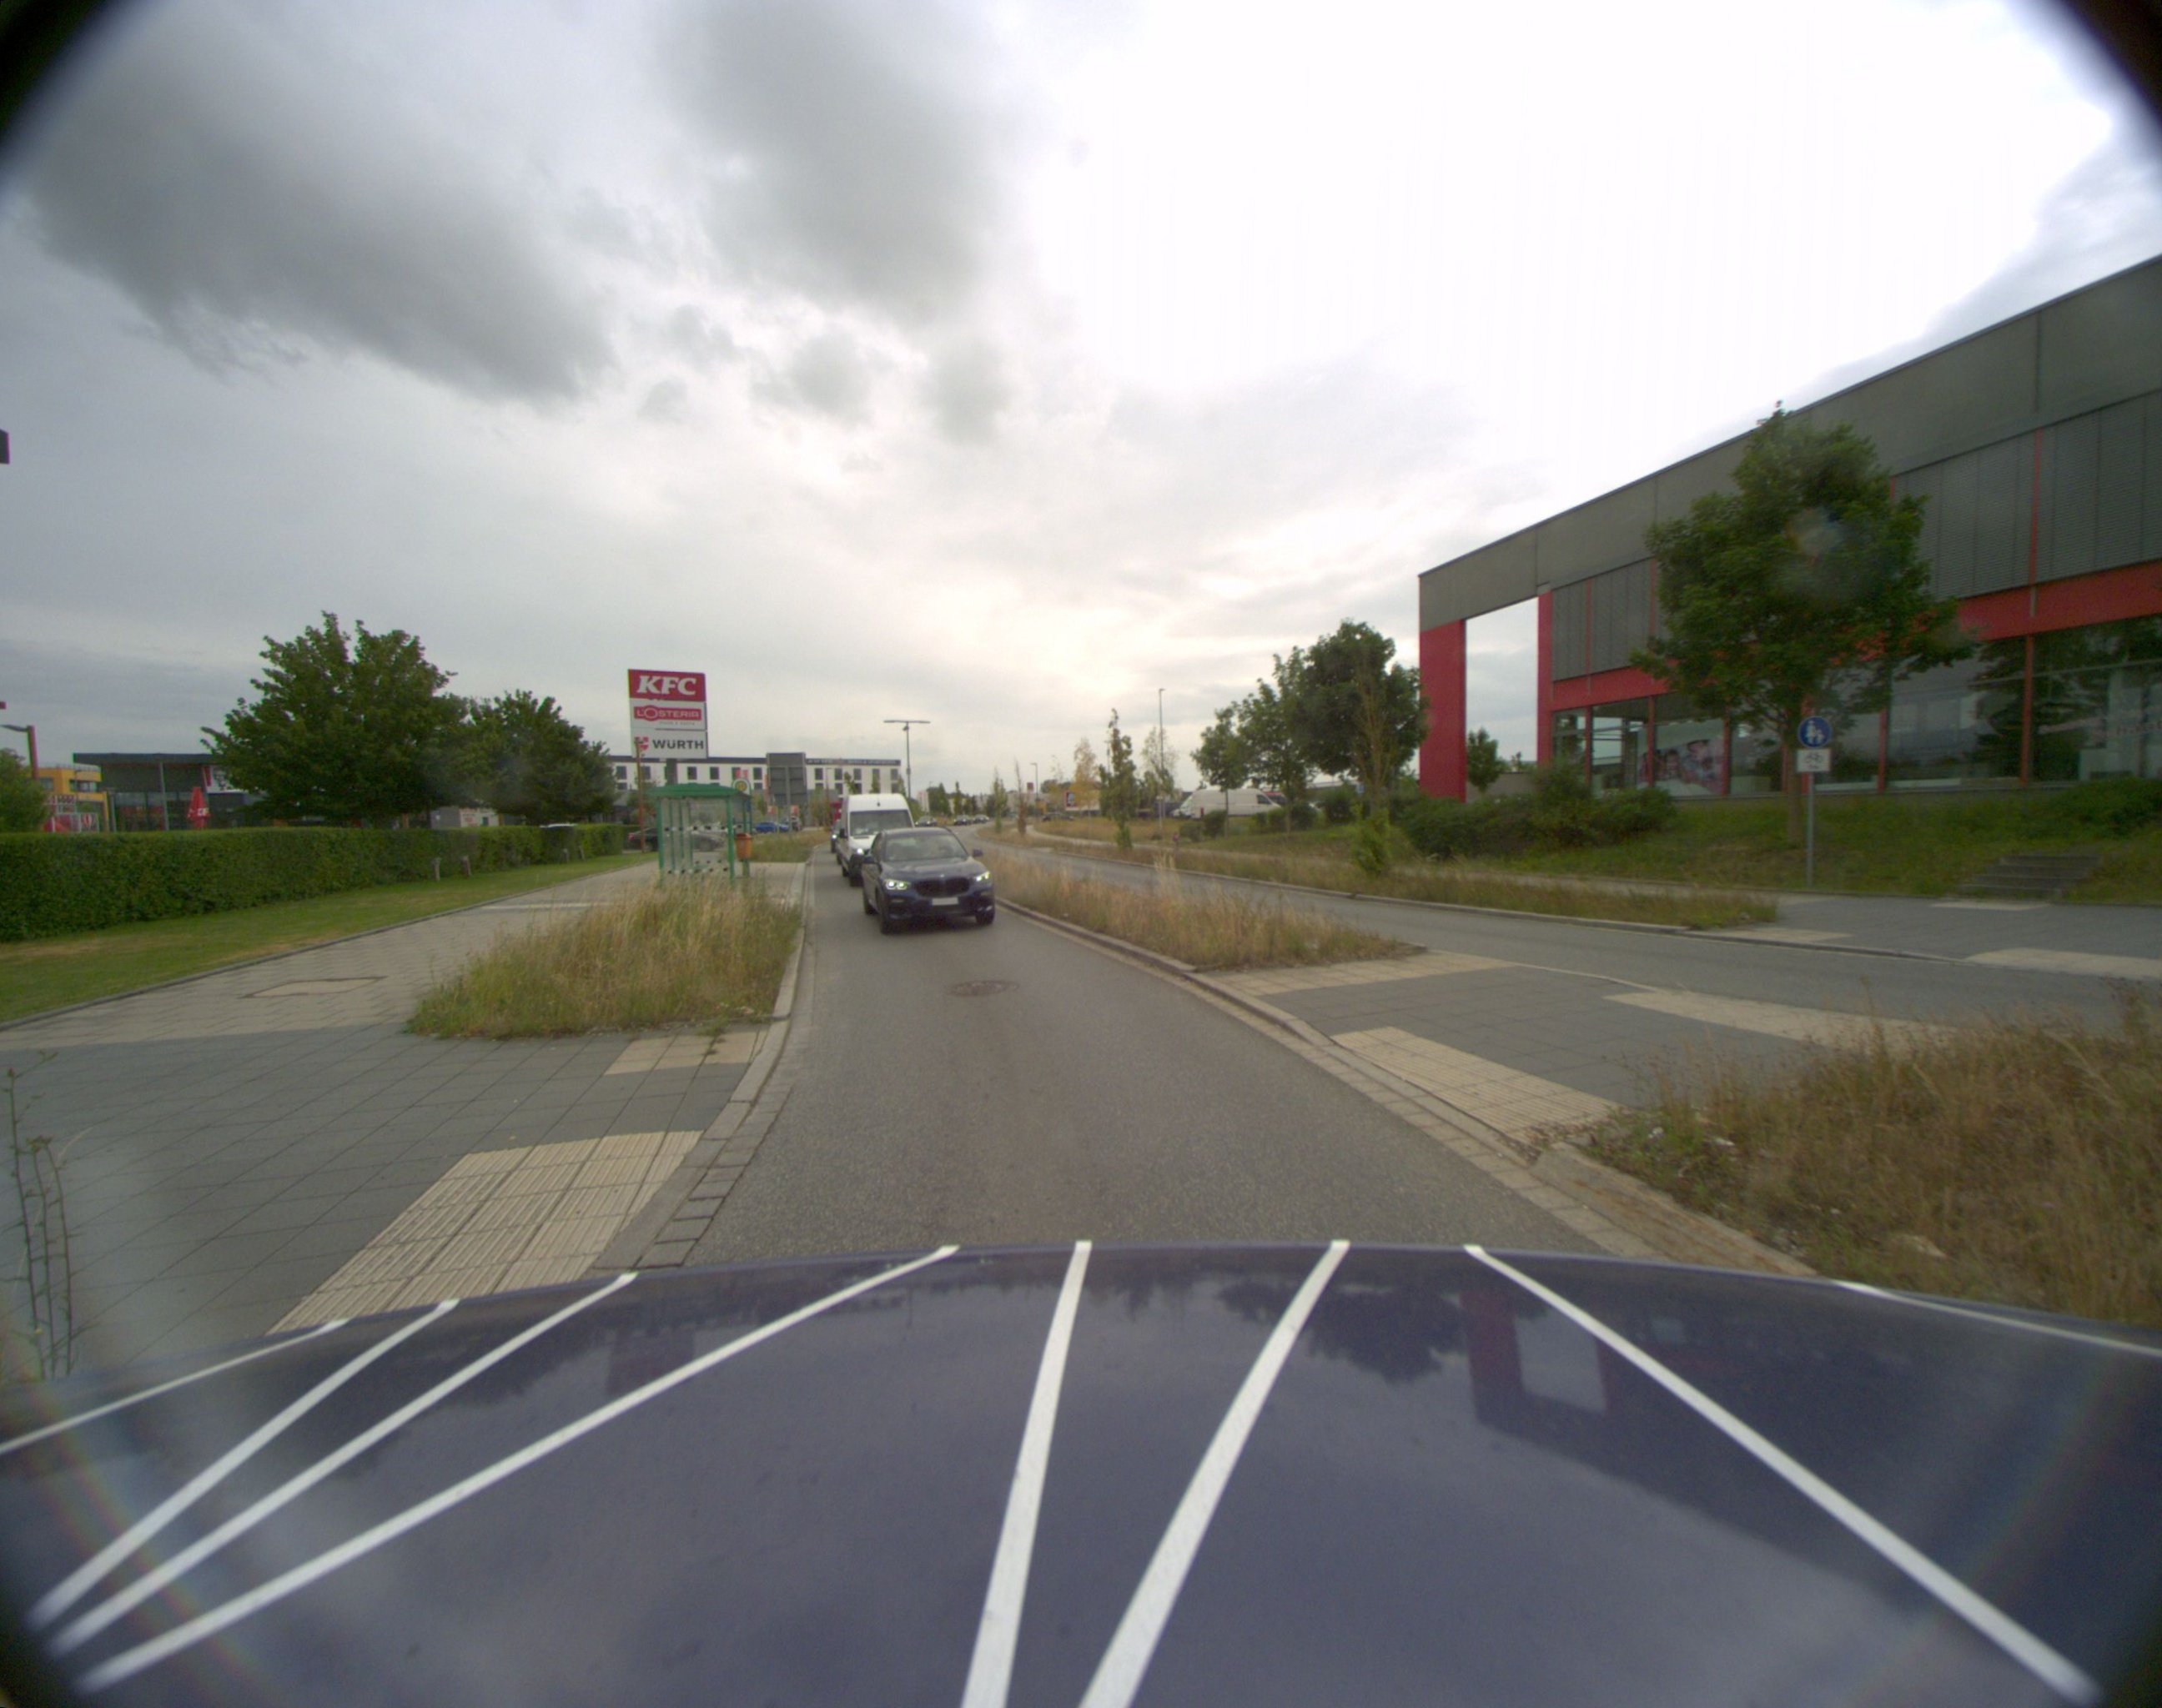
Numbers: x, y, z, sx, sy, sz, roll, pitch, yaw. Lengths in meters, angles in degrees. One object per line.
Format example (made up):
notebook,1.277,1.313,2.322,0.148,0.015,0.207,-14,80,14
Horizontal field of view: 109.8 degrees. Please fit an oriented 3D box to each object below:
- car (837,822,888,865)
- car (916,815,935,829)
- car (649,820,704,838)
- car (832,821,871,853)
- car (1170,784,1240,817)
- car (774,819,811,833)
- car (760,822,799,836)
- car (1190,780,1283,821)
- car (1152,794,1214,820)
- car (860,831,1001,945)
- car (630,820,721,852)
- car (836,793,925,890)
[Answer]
car,-9.312,-0.505,32.247,1.870,1.599,3.992,-2,4,-17
car,-19.448,-4.004,95.309,2.000,1.566,3.994,-3,5,-8
car,-37.578,-2.301,70.651,4.000,1.514,1.844,-2,4,-10
car,-12.597,-0.994,41.671,1.870,1.599,3.992,-2,4,-17
car,9.842,-4.255,60.368,5.060,2.361,2.060,-4,5,-18
car,-36.913,-3.559,97.358,3.997,1.478,1.845,-3,5,-2
car,-37.739,-3.155,95.130,3.997,1.478,1.845,-3,5,-2
car,11.374,-3.950,55.589,6.422,2.611,2.060,-4,5,-15
car,9.141,-4.182,68.057,5.058,2.212,2.061,-2,4,-11
car,-2.836,0.444,13.610,1.870,1.599,3.991,-3,4,-19
car,-22.107,-1.008,41.587,4.001,1.478,1.843,-4,5,-15
car,-6.228,-0.484,23.064,2.029,2.514,6.091,-3,4,-19
